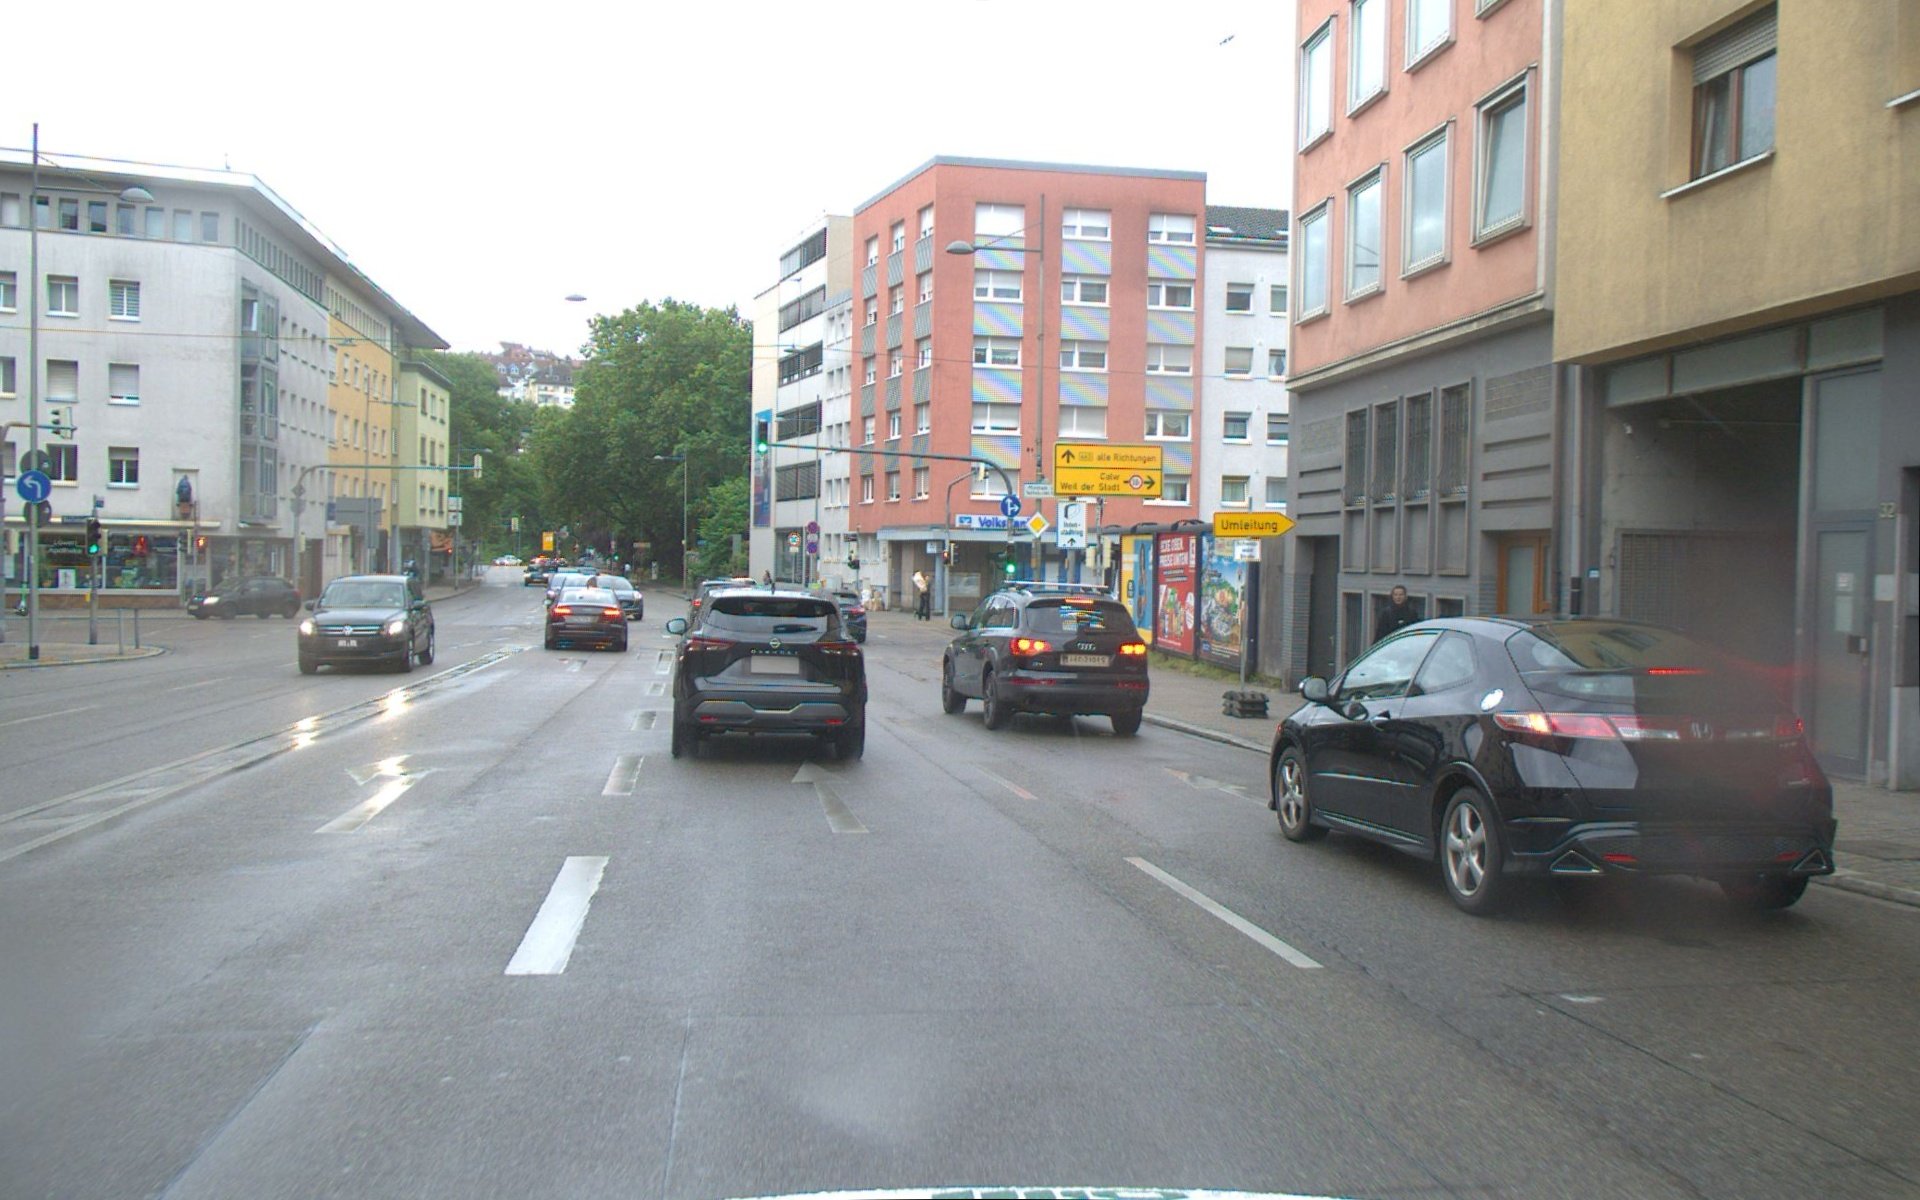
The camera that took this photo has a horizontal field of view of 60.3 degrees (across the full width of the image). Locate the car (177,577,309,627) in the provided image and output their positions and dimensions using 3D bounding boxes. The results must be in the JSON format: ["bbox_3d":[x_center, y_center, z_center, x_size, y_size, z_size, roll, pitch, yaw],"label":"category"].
[{"bbox_3d":[-24.869,0.039,57.469,1.661,1.655,3.992,0,1,30],"label":"car"}]

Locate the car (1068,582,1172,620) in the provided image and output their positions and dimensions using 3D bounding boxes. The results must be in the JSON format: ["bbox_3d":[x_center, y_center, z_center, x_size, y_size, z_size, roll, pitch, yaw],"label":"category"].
[{"bbox_3d":[6.401,0.036,66.410,3.875,1.512,1.698,0,1,-11],"label":"car"}]

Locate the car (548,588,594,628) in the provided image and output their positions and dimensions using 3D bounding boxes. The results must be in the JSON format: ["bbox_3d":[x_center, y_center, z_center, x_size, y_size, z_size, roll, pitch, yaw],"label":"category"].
[{"bbox_3d":[-16.592,0.309,70.644,1.789,1.636,4.417,0,0,-12],"label":"car"}]

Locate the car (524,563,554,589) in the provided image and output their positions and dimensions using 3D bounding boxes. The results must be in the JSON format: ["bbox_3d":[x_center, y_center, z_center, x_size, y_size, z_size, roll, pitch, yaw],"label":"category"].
[{"bbox_3d":[-32.731,-1.863,128.715,1.958,1.892,3.990,2,1,-11],"label":"car"}]

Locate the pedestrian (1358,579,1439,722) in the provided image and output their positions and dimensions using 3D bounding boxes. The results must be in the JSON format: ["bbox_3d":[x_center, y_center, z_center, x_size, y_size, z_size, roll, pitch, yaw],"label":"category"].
[{"bbox_3d":[5.754,0.644,21.760,0.660,1.819,1.094,1,1,-6],"label":"pedestrian"}]

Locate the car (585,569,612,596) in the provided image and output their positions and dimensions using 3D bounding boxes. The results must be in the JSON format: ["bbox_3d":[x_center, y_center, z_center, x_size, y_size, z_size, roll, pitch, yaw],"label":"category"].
[{"bbox_3d":[-27.308,-1.332,124.825,1.790,1.827,3.852,2,1,-14],"label":"car"}]

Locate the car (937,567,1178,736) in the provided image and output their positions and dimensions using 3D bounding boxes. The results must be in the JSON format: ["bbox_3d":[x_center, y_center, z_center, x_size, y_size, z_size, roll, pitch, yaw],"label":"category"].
[{"bbox_3d":[1.117,0.590,21.668,1.985,1.902,4.887,2,0,-11],"label":"car"}]

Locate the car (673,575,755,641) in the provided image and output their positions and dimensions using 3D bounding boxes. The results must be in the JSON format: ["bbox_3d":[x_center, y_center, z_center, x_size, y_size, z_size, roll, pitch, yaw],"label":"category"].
[{"bbox_3d":[-6.900,0.180,46.080,1.913,1.714,3.986,-2,1,-14],"label":"car"}]

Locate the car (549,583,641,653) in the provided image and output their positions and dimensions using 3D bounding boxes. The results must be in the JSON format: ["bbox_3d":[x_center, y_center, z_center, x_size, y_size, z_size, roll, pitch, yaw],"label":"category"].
[{"bbox_3d":[-8.635,0.379,39.045,1.959,1.412,4.485,2,1,-13],"label":"car"}]

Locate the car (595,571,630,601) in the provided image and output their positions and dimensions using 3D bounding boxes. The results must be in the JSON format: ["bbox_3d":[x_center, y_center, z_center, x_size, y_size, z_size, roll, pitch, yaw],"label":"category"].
[{"bbox_3d":[-21.368,-0.874,101.525,1.791,1.640,3.849,2,1,-16],"label":"car"}]

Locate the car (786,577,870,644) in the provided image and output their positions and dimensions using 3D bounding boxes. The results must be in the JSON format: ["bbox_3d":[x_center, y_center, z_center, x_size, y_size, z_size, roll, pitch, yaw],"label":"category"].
[{"bbox_3d":[-3.928,0.257,48.839,1.912,1.848,3.987,-1,1,-13],"label":"car"}]

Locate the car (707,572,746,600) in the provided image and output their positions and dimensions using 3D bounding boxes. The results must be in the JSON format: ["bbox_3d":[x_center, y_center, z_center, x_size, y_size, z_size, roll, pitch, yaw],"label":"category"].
[{"bbox_3d":[-13.422,-0.817,94.957,1.686,1.467,4.065,-2,2,-15],"label":"car"}]

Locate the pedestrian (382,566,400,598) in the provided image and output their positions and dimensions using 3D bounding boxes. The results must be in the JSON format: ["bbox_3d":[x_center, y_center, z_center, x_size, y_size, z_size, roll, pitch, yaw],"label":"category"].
[{"bbox_3d":[-28.639,-0.907,83.251,0.674,1.608,0.650,3,1,-9],"label":"pedestrian"}]

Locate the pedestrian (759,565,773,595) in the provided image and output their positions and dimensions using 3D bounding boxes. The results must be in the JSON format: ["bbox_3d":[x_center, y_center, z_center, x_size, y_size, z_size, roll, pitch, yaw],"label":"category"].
[{"bbox_3d":[-11.425,-1.192,97.268,0.604,1.767,0.676,-2,1,-24],"label":"pedestrian"}]

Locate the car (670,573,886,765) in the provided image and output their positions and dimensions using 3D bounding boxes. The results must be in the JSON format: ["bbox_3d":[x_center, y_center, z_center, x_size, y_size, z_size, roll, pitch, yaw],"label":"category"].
[{"bbox_3d":[-1.936,0.606,16.546,1.860,1.657,3.990,1,0,-10],"label":"car"}]

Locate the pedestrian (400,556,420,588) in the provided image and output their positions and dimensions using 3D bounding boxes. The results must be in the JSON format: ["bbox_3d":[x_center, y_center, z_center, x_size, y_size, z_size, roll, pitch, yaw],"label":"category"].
[{"bbox_3d":[-31.648,-1.623,95.189,0.850,1.819,0.873,3,0,-11],"label":"pedestrian"}]

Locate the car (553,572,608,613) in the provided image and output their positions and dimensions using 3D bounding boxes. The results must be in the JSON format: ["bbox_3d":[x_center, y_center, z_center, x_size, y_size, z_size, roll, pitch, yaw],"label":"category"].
[{"bbox_3d":[-15.106,-0.304,65.738,1.903,1.553,4.117,0,0,-16],"label":"car"}]

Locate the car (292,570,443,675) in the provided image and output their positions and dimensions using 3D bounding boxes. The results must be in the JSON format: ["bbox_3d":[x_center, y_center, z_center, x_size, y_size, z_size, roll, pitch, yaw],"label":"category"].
[{"bbox_3d":[-10.283,0.339,28.982,1.829,1.676,4.242,-1,1,-11],"label":"car"}]

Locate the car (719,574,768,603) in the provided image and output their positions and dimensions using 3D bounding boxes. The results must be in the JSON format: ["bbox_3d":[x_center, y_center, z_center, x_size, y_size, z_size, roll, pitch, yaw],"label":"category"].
[{"bbox_3d":[-11.659,-0.645,88.730,1.747,1.425,4.555,-1,2,-19],"label":"car"}]

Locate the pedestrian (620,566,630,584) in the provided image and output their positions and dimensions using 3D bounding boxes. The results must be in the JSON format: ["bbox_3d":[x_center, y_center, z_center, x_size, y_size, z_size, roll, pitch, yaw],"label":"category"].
[{"bbox_3d":[-34.654,-2.606,170.986,0.706,1.822,0.667,3,1,32],"label":"pedestrian"}]

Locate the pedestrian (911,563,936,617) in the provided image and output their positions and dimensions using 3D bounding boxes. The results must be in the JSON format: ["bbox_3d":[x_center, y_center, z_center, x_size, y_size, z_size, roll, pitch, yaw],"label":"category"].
[{"bbox_3d":[-1.503,-0.416,68.383,0.810,2.195,0.768,2,1,-11],"label":"pedestrian"}]

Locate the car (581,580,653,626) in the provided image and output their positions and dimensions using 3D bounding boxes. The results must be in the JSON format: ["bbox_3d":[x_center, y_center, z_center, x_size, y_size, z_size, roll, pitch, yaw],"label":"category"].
[{"bbox_3d":[-12.552,0.076,60.375,1.831,1.580,4.198,0,1,-22],"label":"car"}]

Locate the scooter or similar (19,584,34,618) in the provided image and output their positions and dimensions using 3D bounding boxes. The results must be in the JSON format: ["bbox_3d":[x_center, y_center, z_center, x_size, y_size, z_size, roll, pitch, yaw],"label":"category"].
[{"bbox_3d":[-32.268,0.029,57.166,0.361,1.113,1.123,-1,4,-33],"label":"scooter or similar"}]

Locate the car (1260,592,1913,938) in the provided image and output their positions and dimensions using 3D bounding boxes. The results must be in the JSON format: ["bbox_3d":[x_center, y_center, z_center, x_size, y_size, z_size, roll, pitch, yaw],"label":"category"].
[{"bbox_3d":[3.200,0.749,9.420,1.750,1.523,4.049,1,0,-8],"label":"car"}]
